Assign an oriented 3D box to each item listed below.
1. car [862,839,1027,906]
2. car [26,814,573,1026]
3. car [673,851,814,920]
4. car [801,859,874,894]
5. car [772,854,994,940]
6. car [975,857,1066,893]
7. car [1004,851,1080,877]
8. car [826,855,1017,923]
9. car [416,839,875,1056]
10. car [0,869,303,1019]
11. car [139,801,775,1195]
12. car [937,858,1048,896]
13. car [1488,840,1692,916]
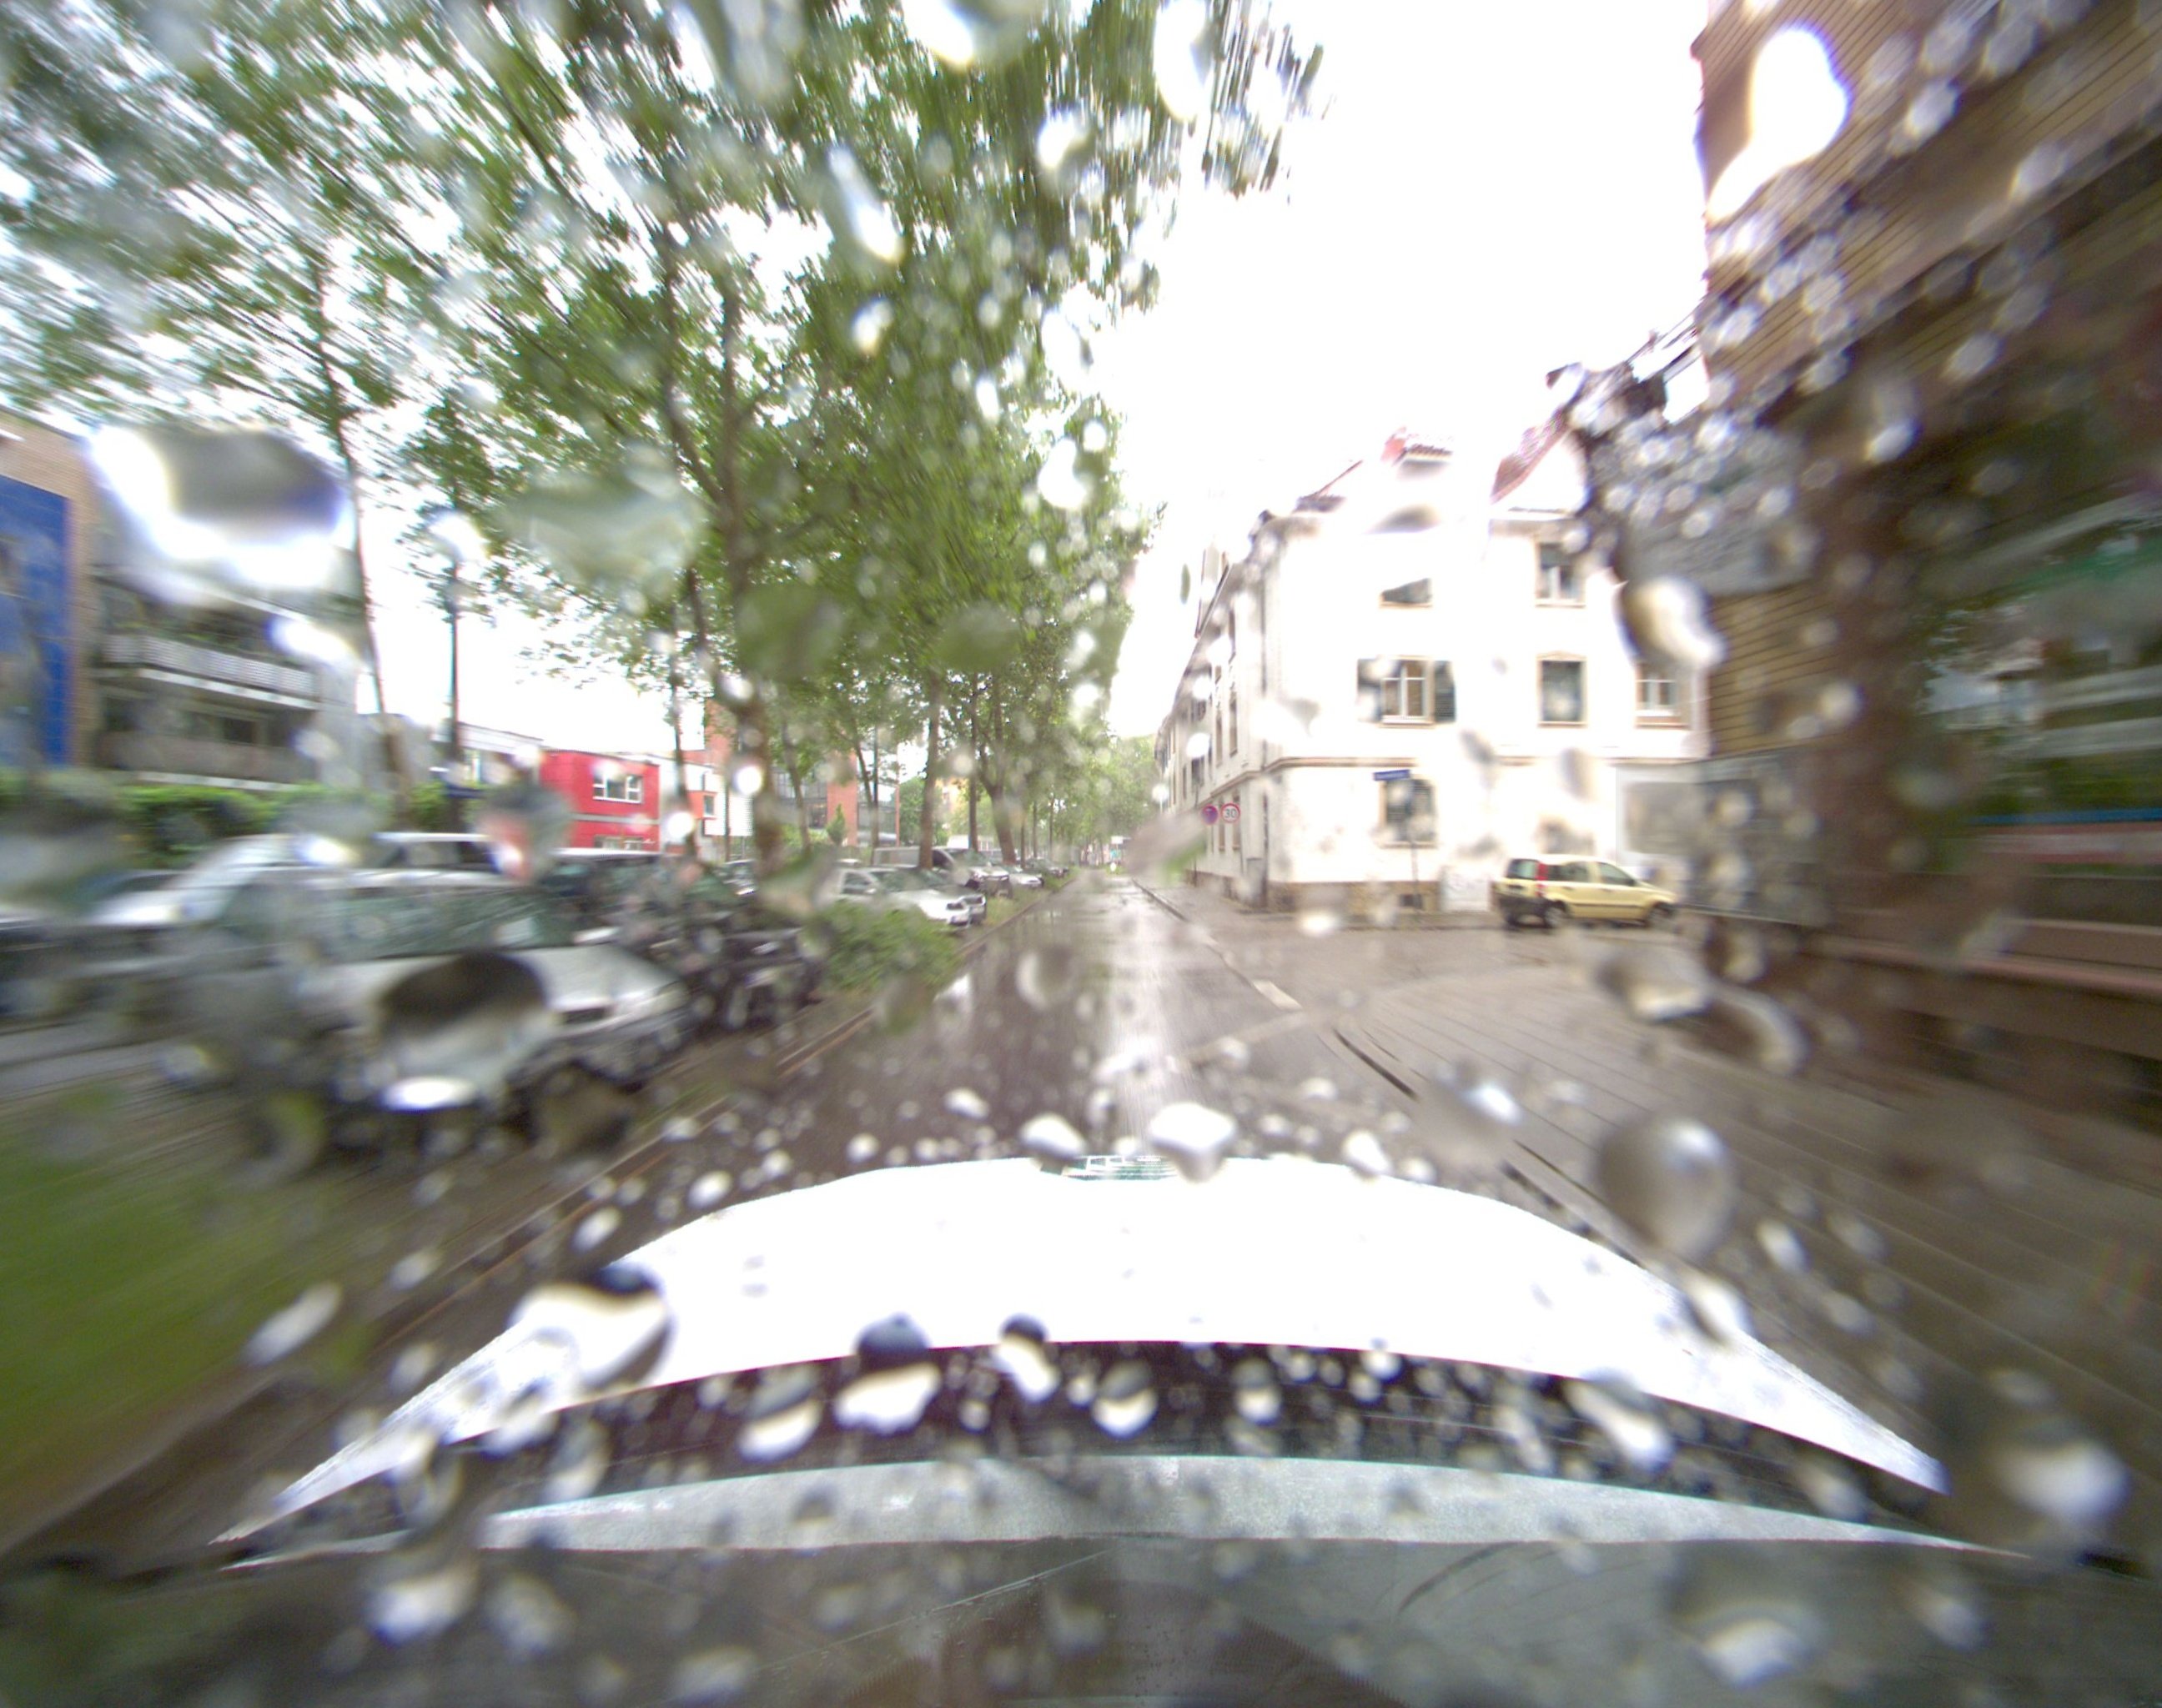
[{"bbox_3d":[-4.449,0.617,26.308,5.065,1.977,2.116,-2,0,32],"label":"car"},{"bbox_3d":[-9.057,0.612,10.352,2.032,2.000,5.156,0,0,-1],"label":"car"},{"bbox_3d":[-8.712,0.751,21.469,1.987,1.640,4.138,0,0,0],"label":"car"},{"bbox_3d":[-11.074,0.982,37.310,1.986,1.508,4.001,-1,-1,2],"label":"car"},{"bbox_3d":[-3.928,0.765,16.141,4.019,1.499,1.757,0,1,25],"label":"car"},{"bbox_3d":[-2.769,0.967,37.073,3.768,1.521,1.733,-2,0,32],"label":"car"},{"bbox_3d":[-2.498,0.643,51.888,4.416,1.597,1.935,0,0,27],"label":"car"},{"bbox_3d":[-3.821,0.753,19.383,4.262,1.437,1.758,0,1,28],"label":"car"},{"bbox_3d":[-4.400,0.741,8.121,4.362,1.660,1.942,-1,0,29],"label":"car"},{"bbox_3d":[-11.811,0.957,9.196,1.988,1.389,4.255,-1,1,-2],"label":"car"},{"bbox_3d":[-4.257,0.678,5.364,4.361,1.645,1.884,-3,-1,32],"label":"car"},{"bbox_3d":[-3.790,1.003,34.727,4.502,1.482,1.786,-2,0,31],"label":"car"},{"bbox_3d":[10.762,0.484,17.362,3.351,1.486,1.714,-1,0,-6],"label":"car"}]
